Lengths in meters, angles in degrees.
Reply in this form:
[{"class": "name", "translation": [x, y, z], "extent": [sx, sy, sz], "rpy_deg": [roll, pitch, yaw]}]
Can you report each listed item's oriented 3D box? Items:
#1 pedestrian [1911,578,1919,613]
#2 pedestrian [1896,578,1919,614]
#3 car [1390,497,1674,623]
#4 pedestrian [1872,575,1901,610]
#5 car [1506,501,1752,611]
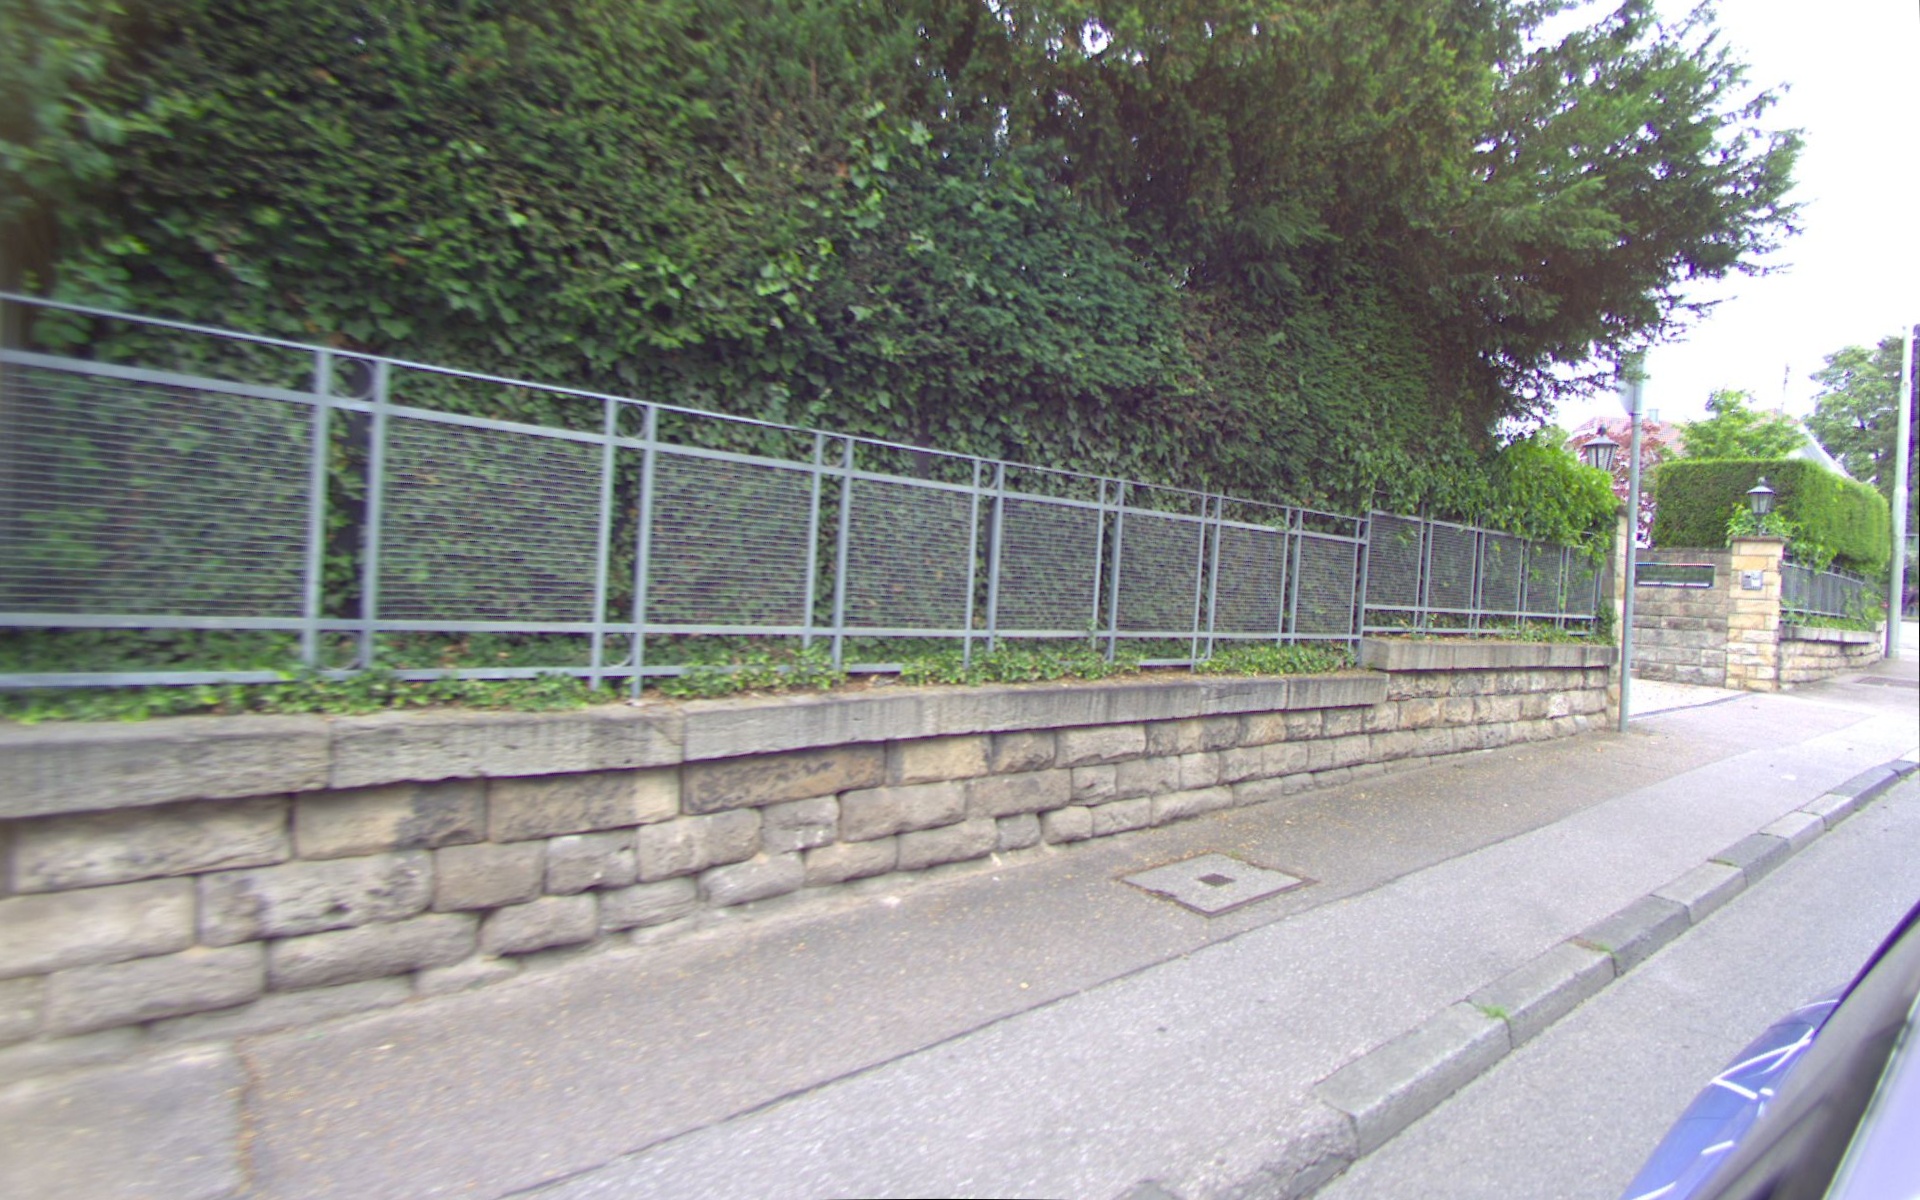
[{"class": "pedestrian", "translation": [49.743, -0.206, 52.199], "extent": [0.600, 1.809, 0.668], "rpy_deg": [2, 2, -14]}, {"class": "pedestrian", "translation": [50.548, -0.232, 53.951], "extent": [0.591, 1.857, 0.614], "rpy_deg": [2, 2, -13]}, {"class": "car", "translation": [10.530, -0.811, 18.880], "extent": [1.965, 1.629, 4.004], "rpy_deg": [0, 11, -40]}, {"class": "pedestrian", "translation": [50.064, -0.389, 54.673], "extent": [0.862, 1.836, 0.689], "rpy_deg": [2, 2, -11]}, {"class": "car", "translation": [13.839, -0.971, 21.105], "extent": [1.782, 1.629, 3.755], "rpy_deg": [0, 11, -40]}]
